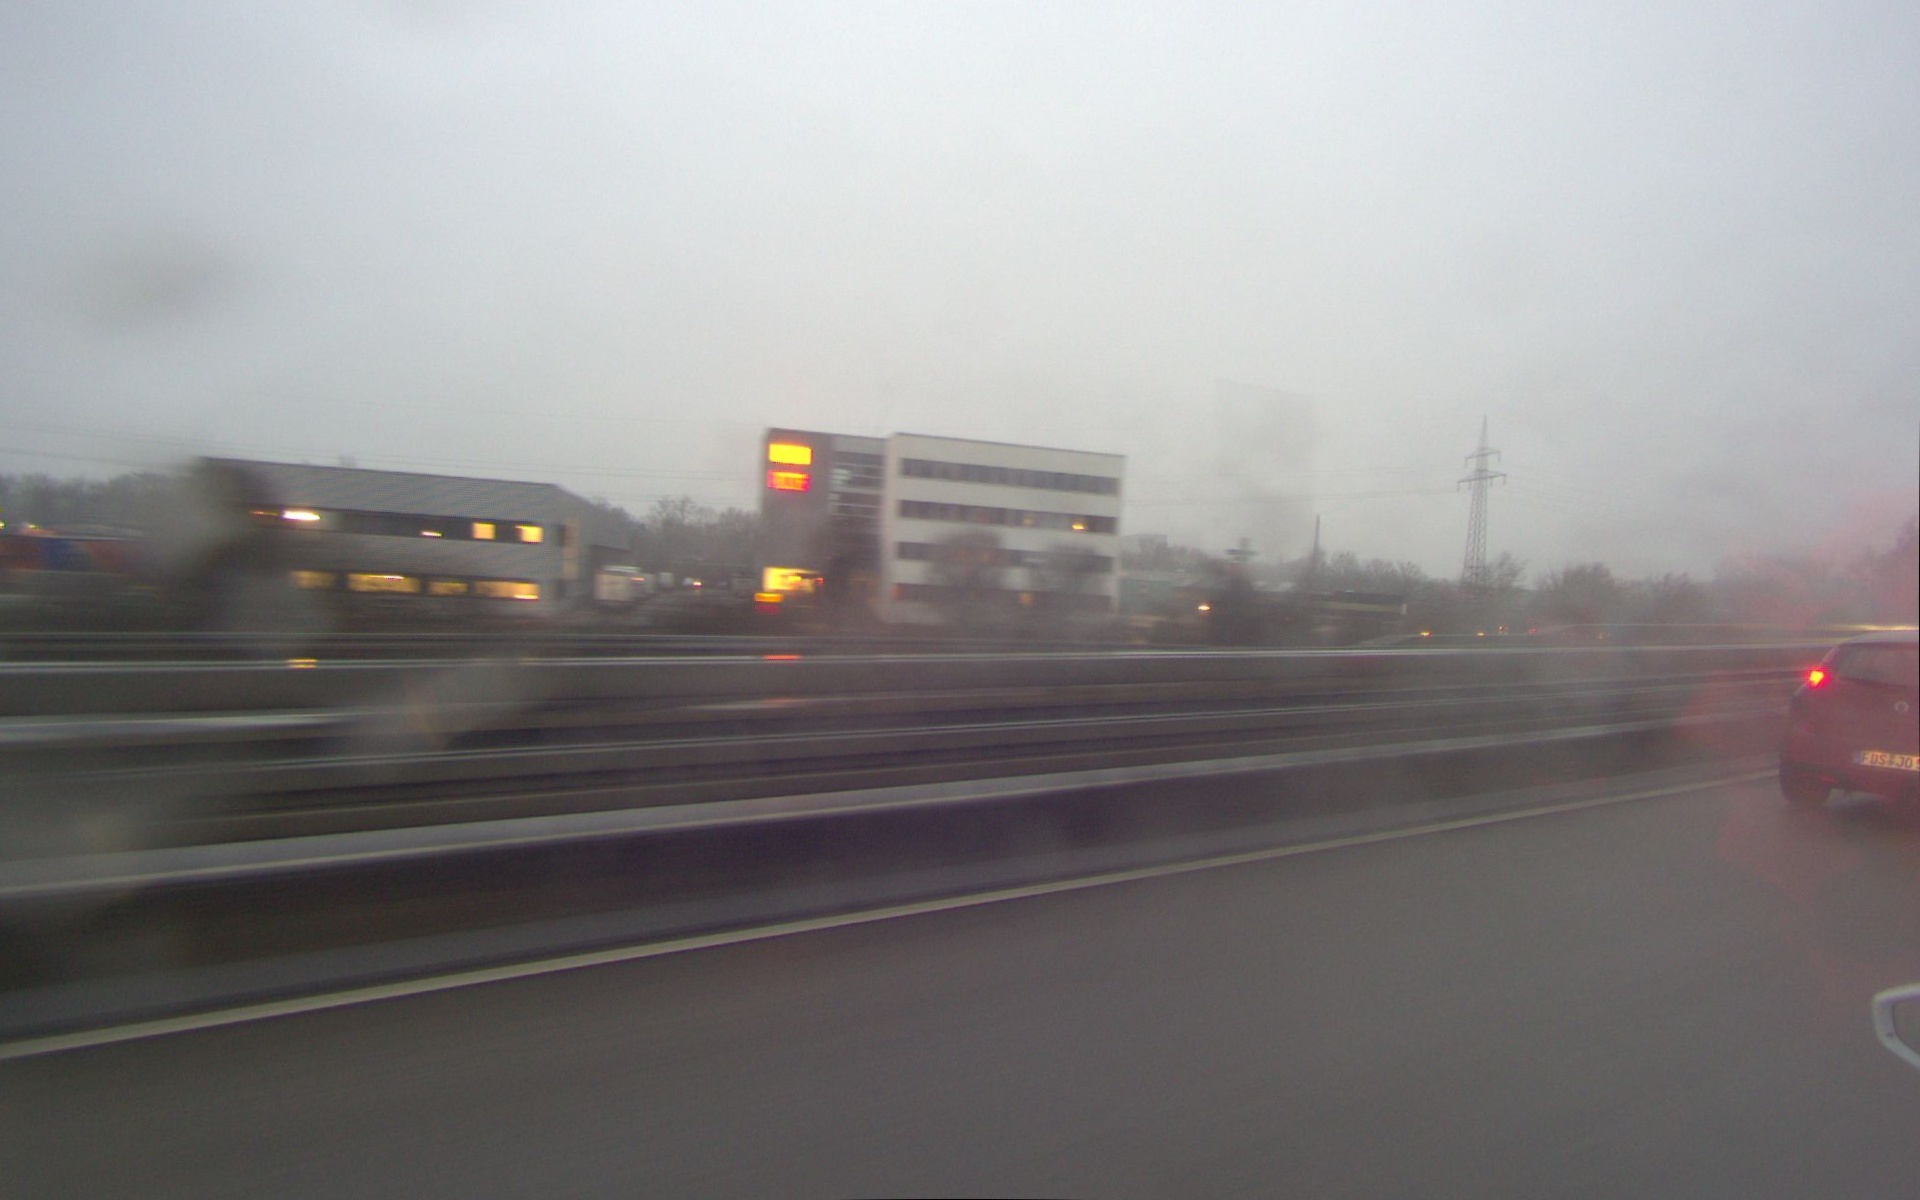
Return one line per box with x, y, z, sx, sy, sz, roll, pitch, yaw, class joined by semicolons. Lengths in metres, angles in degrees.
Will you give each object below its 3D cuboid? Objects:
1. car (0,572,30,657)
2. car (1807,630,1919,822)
-25.880;0.276;23.043;6.433;2.040;1.979;2;-1;-38;car
8.850;0.988;8.406;3.957;1.410;1.616;2;-1;-33;car
